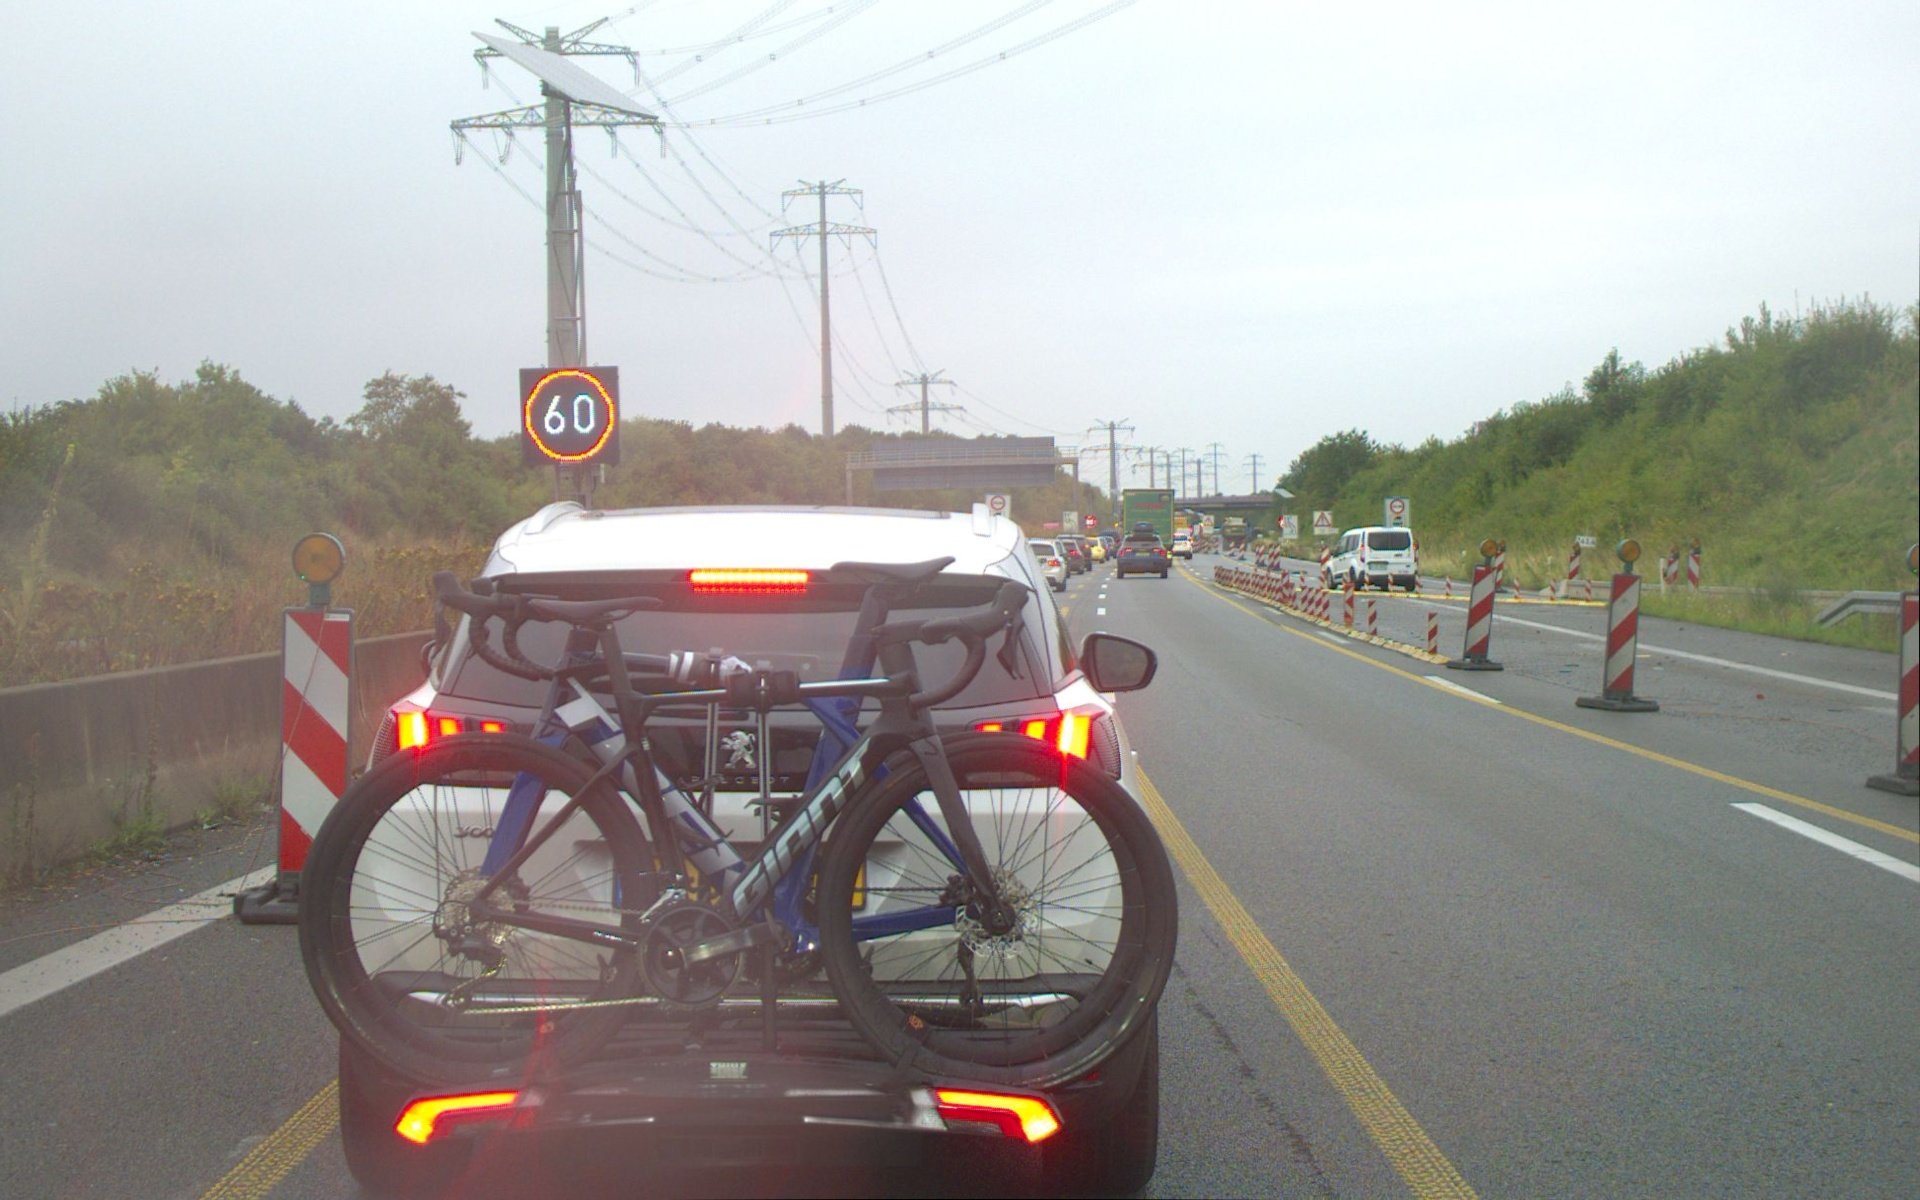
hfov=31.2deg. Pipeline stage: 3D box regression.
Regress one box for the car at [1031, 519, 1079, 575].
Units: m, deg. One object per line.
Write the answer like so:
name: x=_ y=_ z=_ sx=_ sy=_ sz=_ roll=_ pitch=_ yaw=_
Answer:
car: x=3.522 y=-1.970 z=127.096 sx=1.654 sy=2.007 sz=4.000 roll=0 pitch=1 yaw=3

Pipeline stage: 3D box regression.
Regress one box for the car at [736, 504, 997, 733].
car: x=-0.714 y=0.101 z=29.033 sx=1.993 sy=1.754 sz=4.000 roll=-1 pitch=1 yaw=1

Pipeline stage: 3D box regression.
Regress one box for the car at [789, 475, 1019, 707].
car: x=-0.523 y=-0.120 z=32.502 sx=1.993 sy=2.007 sz=4.000 roll=-1 pitch=1 yaw=-1

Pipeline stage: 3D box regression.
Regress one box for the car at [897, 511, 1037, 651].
car: x=0.078 y=-0.292 z=51.820 sx=1.993 sy=2.007 sz=4.000 roll=1 pitch=0 yaw=-1

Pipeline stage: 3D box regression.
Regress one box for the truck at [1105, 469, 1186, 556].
truck: x=9.490 y=-4.572 z=177.248 sx=3.731 sy=3.808 sz=11.871 roll=1 pitch=4 yaw=1

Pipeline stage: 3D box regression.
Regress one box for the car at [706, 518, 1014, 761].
car: x=-0.681 y=0.213 z=24.323 sx=1.993 sy=1.578 sz=4.000 roll=0 pitch=1 yaw=-1

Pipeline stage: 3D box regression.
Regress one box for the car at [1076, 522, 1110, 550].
car: x=8.469 y=-4.084 z=219.347 sx=1.993 sy=1.729 sz=3.783 roll=-1 pitch=2 yaw=0

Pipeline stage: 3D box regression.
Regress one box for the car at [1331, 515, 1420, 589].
car: x=11.875 y=-1.392 z=98.486 sx=1.993 sy=2.007 sz=4.000 roll=-1 pitch=1 yaw=-1

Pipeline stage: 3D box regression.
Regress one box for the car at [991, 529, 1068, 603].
car: x=1.920 y=-0.945 z=96.270 sx=1.993 sy=2.007 sz=4.000 roll=1 pitch=0 yaw=-1

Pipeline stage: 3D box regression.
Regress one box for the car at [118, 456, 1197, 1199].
car: x=-0.487 y=0.504 z=8.444 sx=1.928 sy=1.605 sz=4.595 roll=0 pitch=1 yaw=2

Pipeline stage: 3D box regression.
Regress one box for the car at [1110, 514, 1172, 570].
car: x=6.621 y=-2.110 z=125.919 sx=1.993 sy=2.007 sz=4.000 roll=1 pitch=0 yaw=-1

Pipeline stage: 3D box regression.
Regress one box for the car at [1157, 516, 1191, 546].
car: x=14.482 y=-4.697 z=233.186 sx=1.993 sy=2.007 sz=4.000 roll=0 pitch=1 yaw=-1

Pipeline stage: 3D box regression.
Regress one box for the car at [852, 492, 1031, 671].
car: x=-0.231 y=-0.268 z=41.197 sx=1.993 sy=2.006 sz=4.000 roll=-1 pitch=2 yaw=-1

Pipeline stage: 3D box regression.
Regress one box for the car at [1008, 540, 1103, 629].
car: x=2.256 y=-0.339 z=82.173 sx=1.993 sy=2.007 sz=4.000 roll=-1 pitch=-1 yaw=-2
